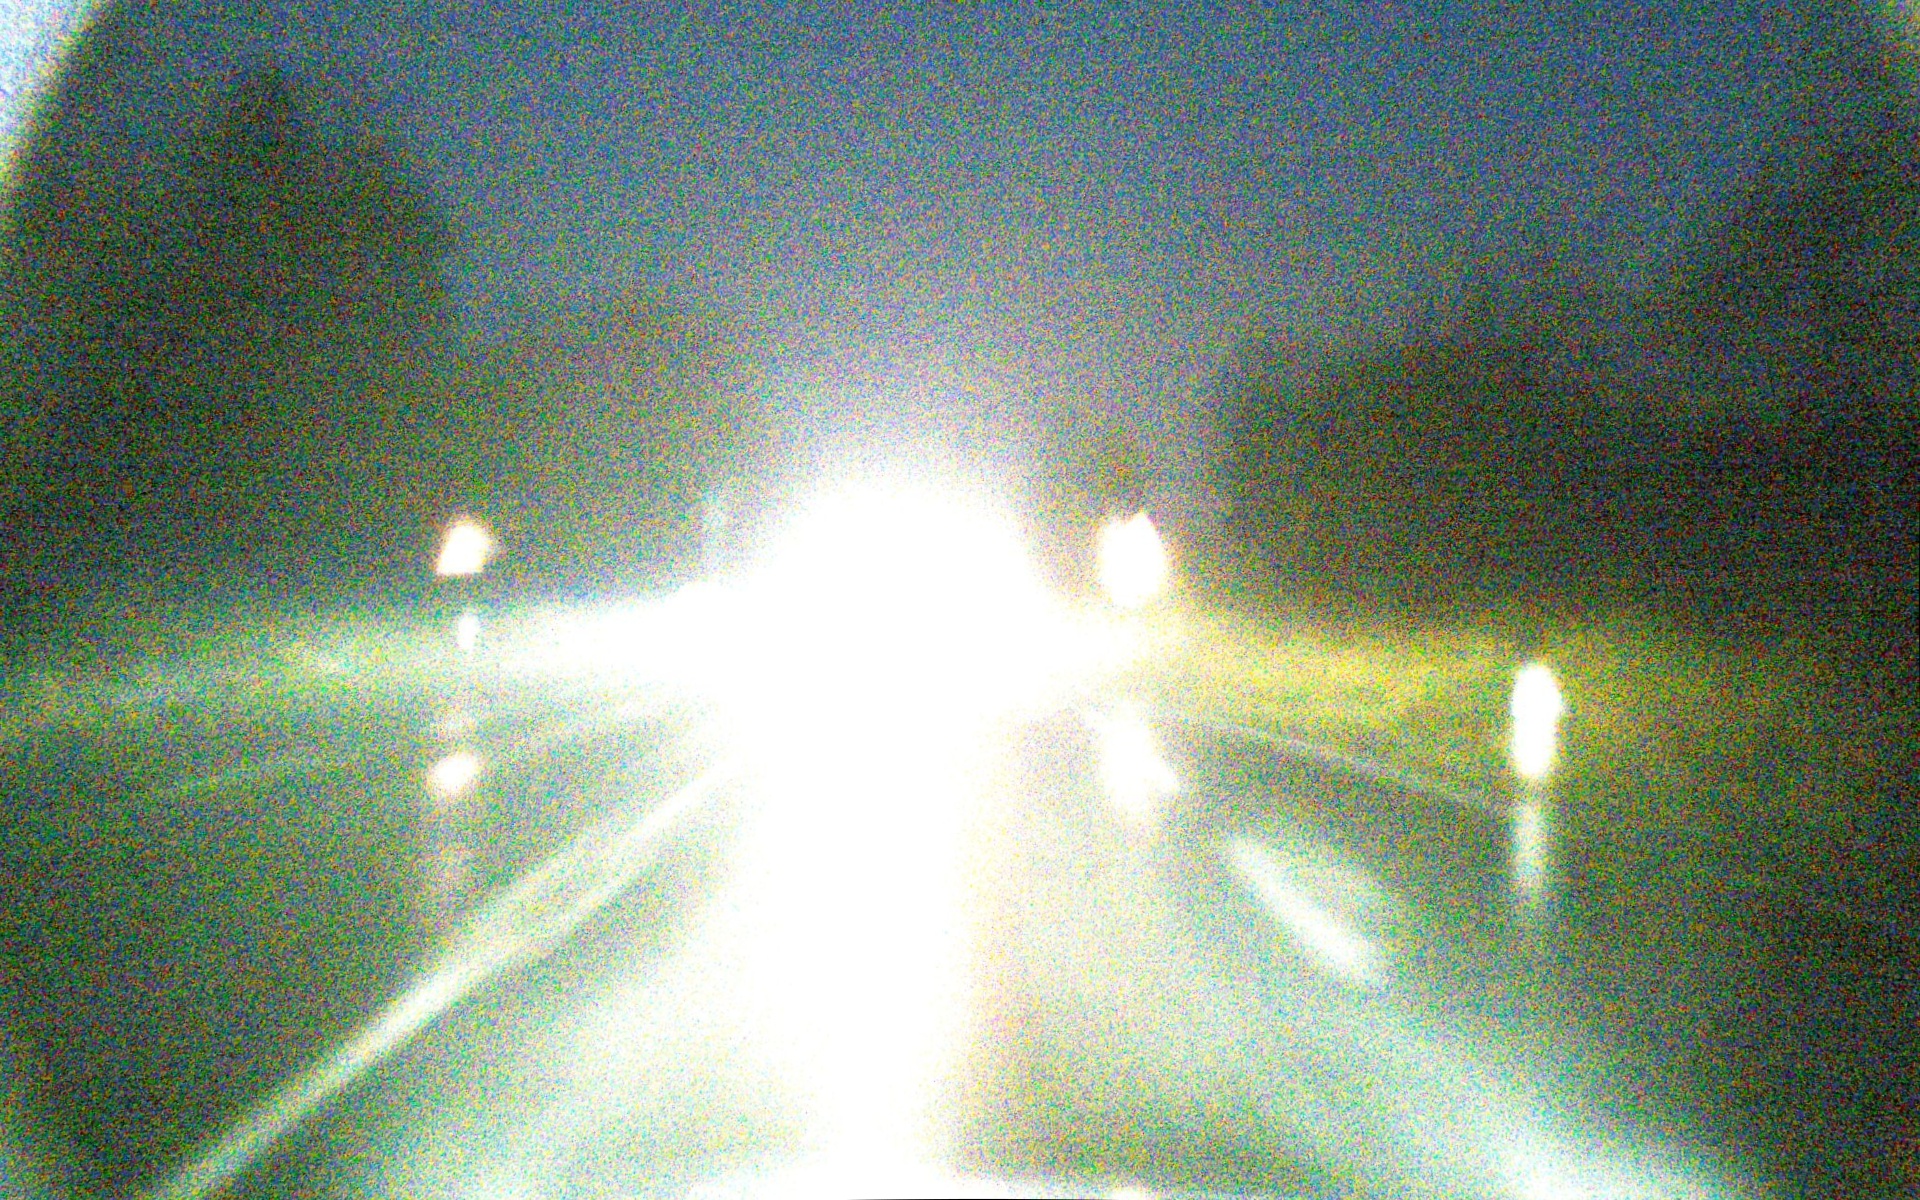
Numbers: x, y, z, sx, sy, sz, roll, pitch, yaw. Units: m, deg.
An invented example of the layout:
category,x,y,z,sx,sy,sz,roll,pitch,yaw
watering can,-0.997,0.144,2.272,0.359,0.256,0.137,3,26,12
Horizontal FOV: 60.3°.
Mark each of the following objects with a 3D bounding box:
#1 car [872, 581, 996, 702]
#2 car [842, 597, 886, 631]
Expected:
category,x,y,z,sx,sy,sz,roll,pitch,yaw
car,-0.550,0.706,30.440,2.052,2.049,3.997,1,0,-4
car,-4.283,0.609,73.476,1.713,1.451,3.680,-1,0,-7
